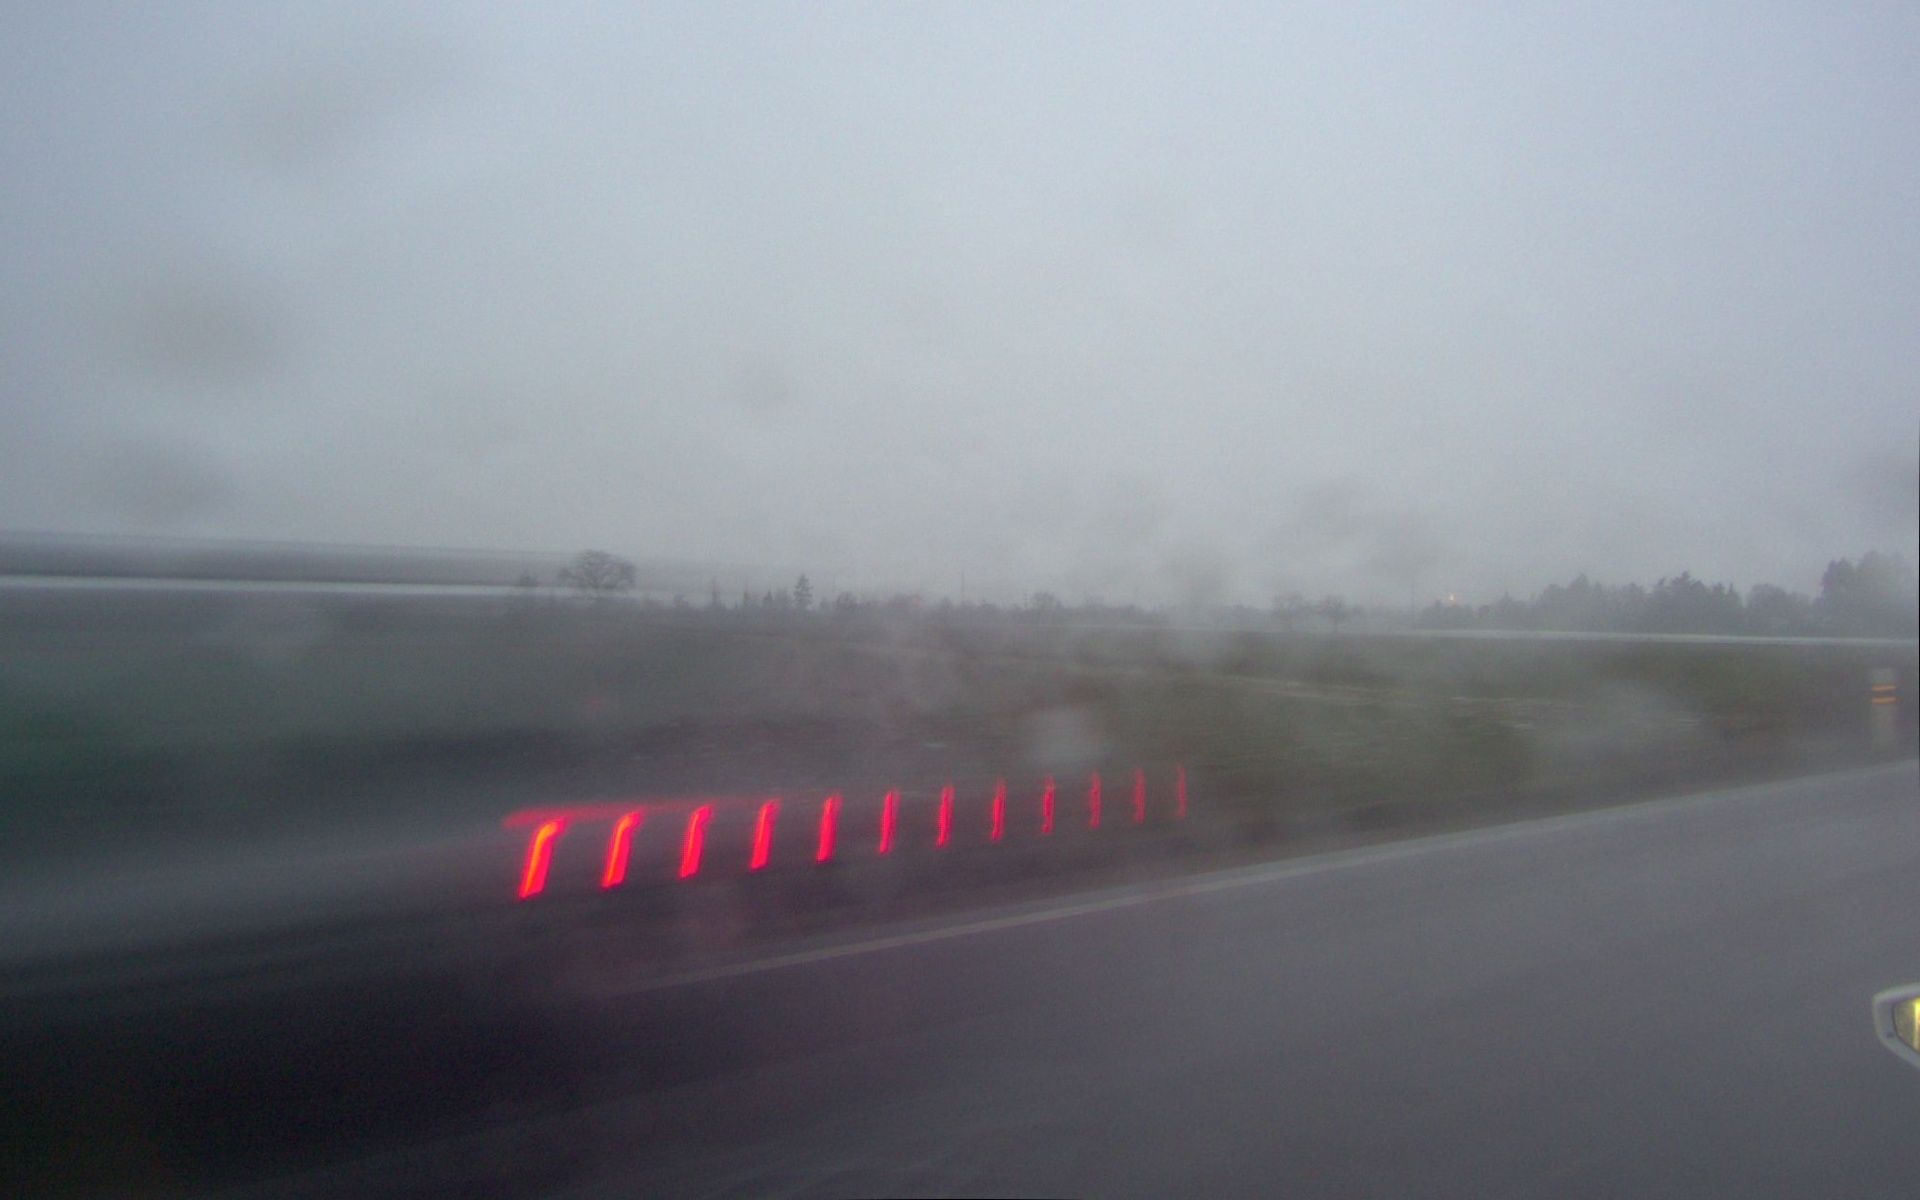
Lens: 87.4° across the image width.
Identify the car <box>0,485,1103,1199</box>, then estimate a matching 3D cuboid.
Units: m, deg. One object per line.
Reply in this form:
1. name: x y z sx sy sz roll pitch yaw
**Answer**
1. car: -1.820 0.710 2.079 3.911 1.744 1.830 2 0 -31
